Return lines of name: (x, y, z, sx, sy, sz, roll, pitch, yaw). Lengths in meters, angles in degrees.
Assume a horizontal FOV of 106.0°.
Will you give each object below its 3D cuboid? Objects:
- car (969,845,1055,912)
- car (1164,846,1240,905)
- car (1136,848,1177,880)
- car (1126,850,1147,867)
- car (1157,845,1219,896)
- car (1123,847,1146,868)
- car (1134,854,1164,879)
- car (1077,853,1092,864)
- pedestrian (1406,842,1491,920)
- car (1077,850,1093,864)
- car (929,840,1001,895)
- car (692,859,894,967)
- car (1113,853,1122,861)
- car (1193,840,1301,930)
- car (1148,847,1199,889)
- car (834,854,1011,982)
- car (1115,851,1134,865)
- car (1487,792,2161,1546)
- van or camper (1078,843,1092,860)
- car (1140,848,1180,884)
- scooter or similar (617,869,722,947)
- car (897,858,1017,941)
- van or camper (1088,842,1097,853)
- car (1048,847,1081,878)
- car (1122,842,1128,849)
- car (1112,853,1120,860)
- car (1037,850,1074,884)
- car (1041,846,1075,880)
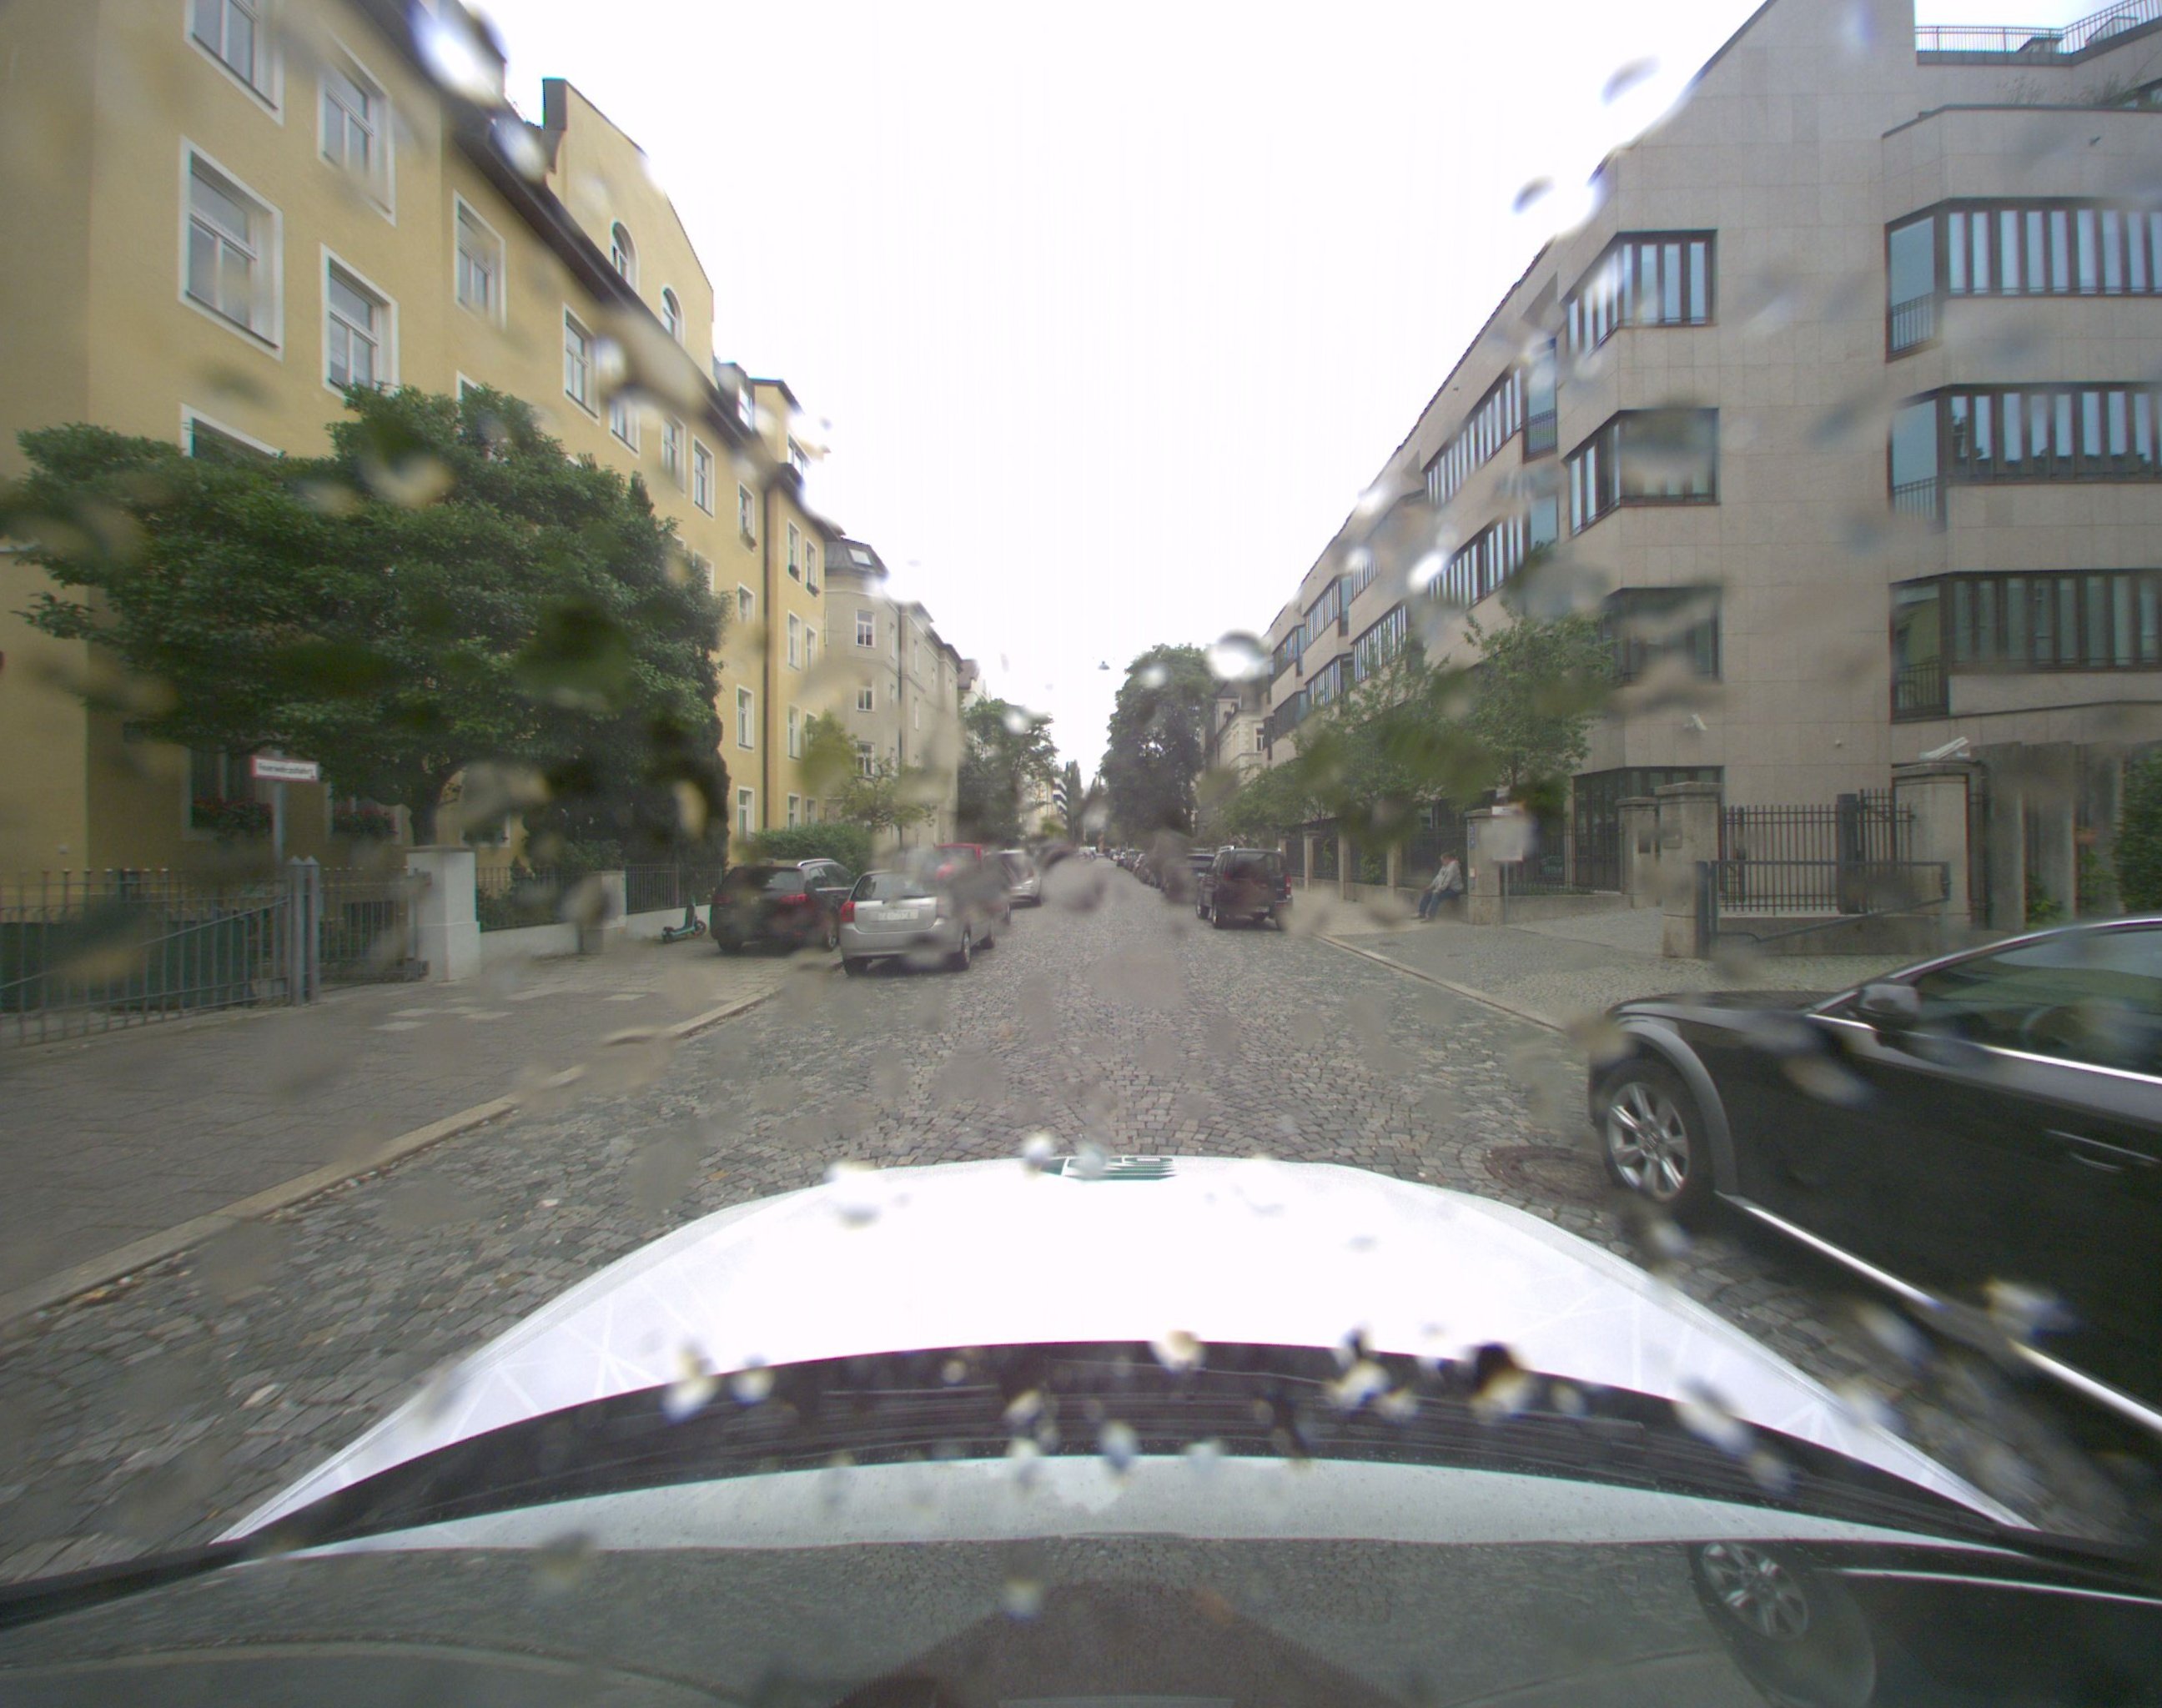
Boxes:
car: (-2.071, 0.704, 26.011, 1.998, 1.809, 5.177, -3, 0, 2)
car: (3.866, 0.637, 26.756, 1.854, 1.702, 4.815, 2, 0, 1)
car: (4.488, 0.580, 49.042, 1.867, 1.735, 4.746, 3, 0, -1)
car: (5.171, 0.440, 76.072, 1.830, 1.490, 4.424, 2, 0, 2)
car: (4.158, 0.591, 32.195, 1.782, 1.796, 4.509, 3, 0, 0)
car: (5.362, 0.321, 81.764, 1.867, 1.928, 5.162, 2, 0, -1)
car: (4.482, 0.785, 54.178, 1.865, 1.490, 4.621, 1, 1, 3)
car: (0.580, 0.644, 119.632, 1.864, 1.580, 4.213, 1, 0, 5)
pedestrian: (7.526, 0.535, 16.754, 1.211, 1.493, 1.130, -3, 0, 3)
car: (0.459, 0.315, 101.675, 1.867, 1.580, 4.254, -4, 0, -1)
car: (-4.378, 0.483, 31.607, 1.987, 1.931, 5.330, 1, 0, 0)
car: (-4.732, 0.867, 14.200, 1.709, 1.497, 4.723, 1, 0, 1)
car: (6.919, 0.521, 155.405, 1.783, 1.520, 4.002, -1, 0, 2)
car: (3.597, 0.610, 18.276, 1.613, 1.751, 3.887, 2, 0, 0)
car: (4.256, 0.621, 38.156, 1.867, 1.735, 4.659, 3, 0, 1)
car: (-2.225, 0.816, 12.639, 1.707, 1.562, 4.391, -3, 0, 1)
car: (5.030, 0.404, 93.756, 1.867, 1.503, 4.510, 2, 0, -1)
car: (3.244, 0.672, 2.101, 1.986, 1.552, 5.016, 1, 0, 1)
van or camper: (0.736, -0.381, 134.608, 1.986, 2.652, 4.002, -4, 0, 2)
car: (4.142, 0.604, 43.172, 1.865, 1.735, 4.895, 1, 0, 3)
scooter or similar: (-7.022, 0.893, 13.999, 0.952, 1.200, 1.523, 2, 0, 2)
car: (-2.443, 0.840, 16.938, 1.723, 1.418, 3.937, -3, 0, 1)
van or camper: (3.114, -1.714, 219.182, 2.247, 2.742, 5.100, 0, 0, 2)
car: (-1.129, 0.562, 57.031, 1.986, 1.917, 5.178, -4, 0, 1)
car: (13.929, -2.652, 258.511, 1.986, 2.014, 4.002, -1, 0, 2)
car: (7.511, 0.478, 176.120, 1.783, 1.520, 4.002, -1, 0, 2)
car: (-1.404, 0.681, 45.553, 1.860, 1.735, 4.401, -3, 0, -1)
car: (-1.378, 0.531, 50.576, 1.867, 1.917, 4.828, -3, 0, 1)
